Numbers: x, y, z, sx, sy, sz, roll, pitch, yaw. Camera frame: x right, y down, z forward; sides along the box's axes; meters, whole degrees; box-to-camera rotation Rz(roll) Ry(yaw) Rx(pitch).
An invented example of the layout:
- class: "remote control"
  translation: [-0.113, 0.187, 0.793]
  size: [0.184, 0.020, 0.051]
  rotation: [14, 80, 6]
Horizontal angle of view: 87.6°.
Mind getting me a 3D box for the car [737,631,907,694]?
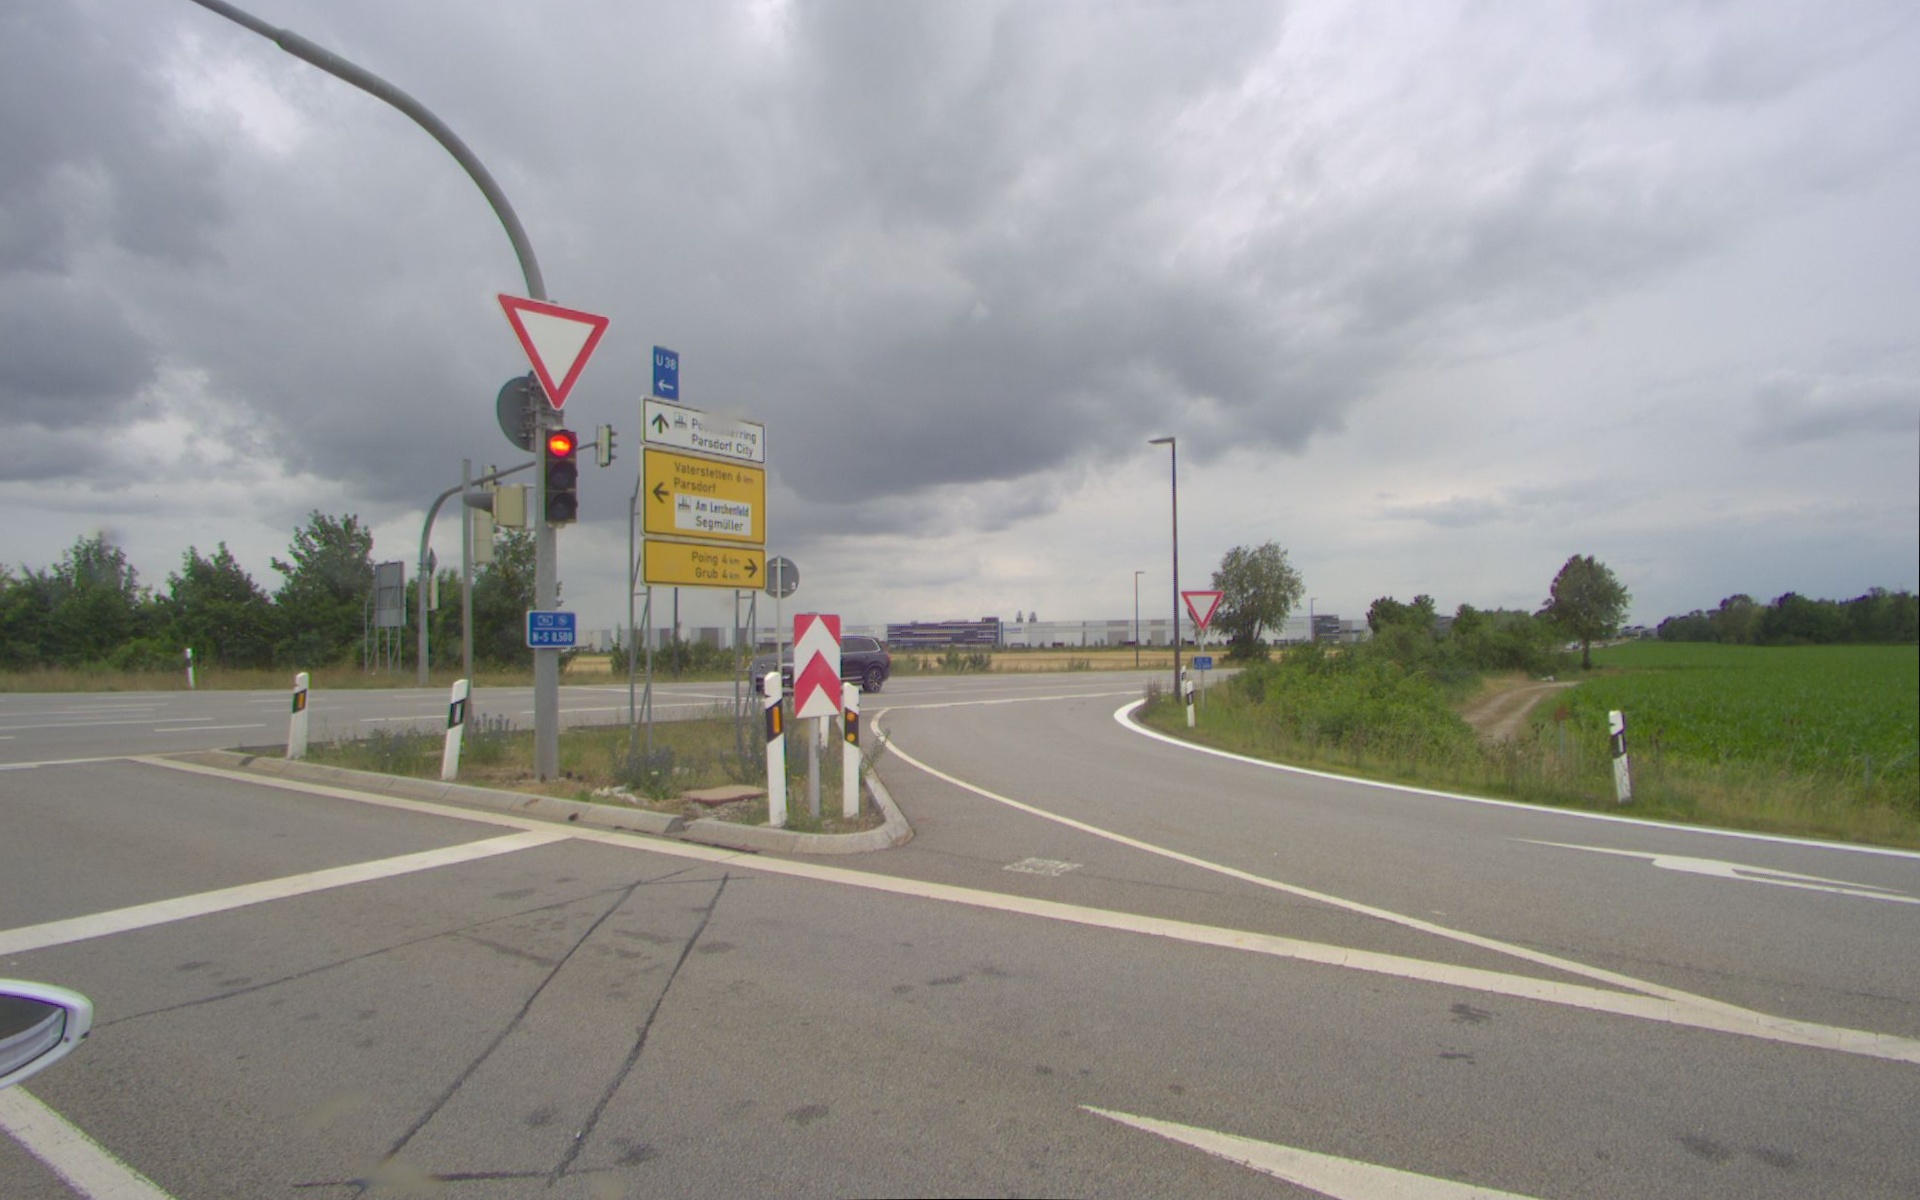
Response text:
- class: "car"
  translation: [-3.991, 1.832, 29.767]
  size: [1.977, 1.705, 4.961]
  rotation: [-2, -3, 41]
